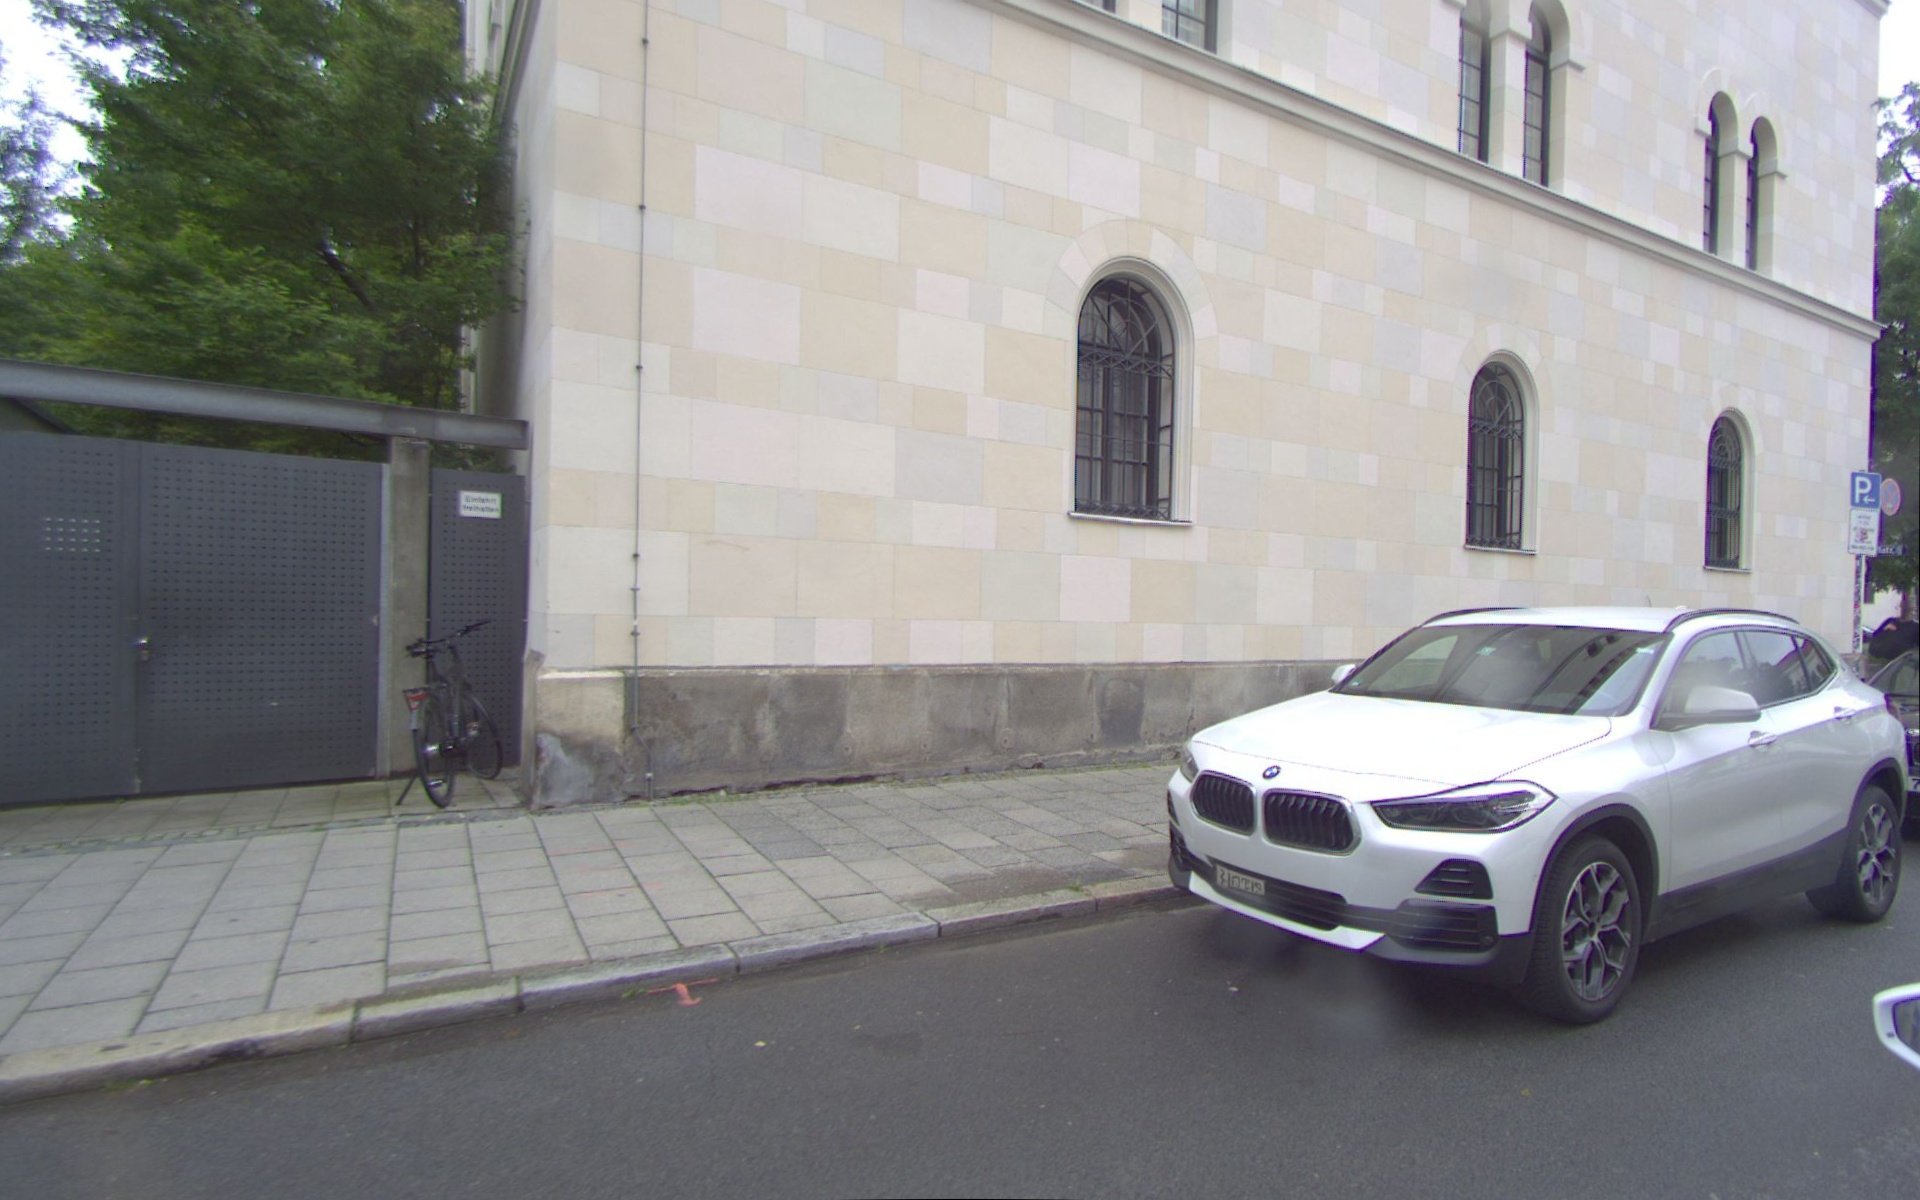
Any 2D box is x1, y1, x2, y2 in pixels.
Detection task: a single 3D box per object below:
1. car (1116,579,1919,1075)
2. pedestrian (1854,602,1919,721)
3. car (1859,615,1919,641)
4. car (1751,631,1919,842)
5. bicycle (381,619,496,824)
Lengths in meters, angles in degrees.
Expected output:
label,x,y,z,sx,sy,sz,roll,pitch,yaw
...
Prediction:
label,x,y,z,sx,sy,sz,roll,pitch,yaw
car,2.955,0.784,5.017,4.164,1.555,1.769,2,-2,-31
pedestrian,14.351,0.918,15.441,0.682,1.772,0.750,0,0,-32
car,52.856,1.558,55.019,1.977,1.394,5.047,0,0,-31
car,8.192,0.979,7.903,4.162,1.411,1.691,2,-2,-30
bicycle,-3.503,0.741,6.847,0.468,1.193,1.709,1,0,-20
